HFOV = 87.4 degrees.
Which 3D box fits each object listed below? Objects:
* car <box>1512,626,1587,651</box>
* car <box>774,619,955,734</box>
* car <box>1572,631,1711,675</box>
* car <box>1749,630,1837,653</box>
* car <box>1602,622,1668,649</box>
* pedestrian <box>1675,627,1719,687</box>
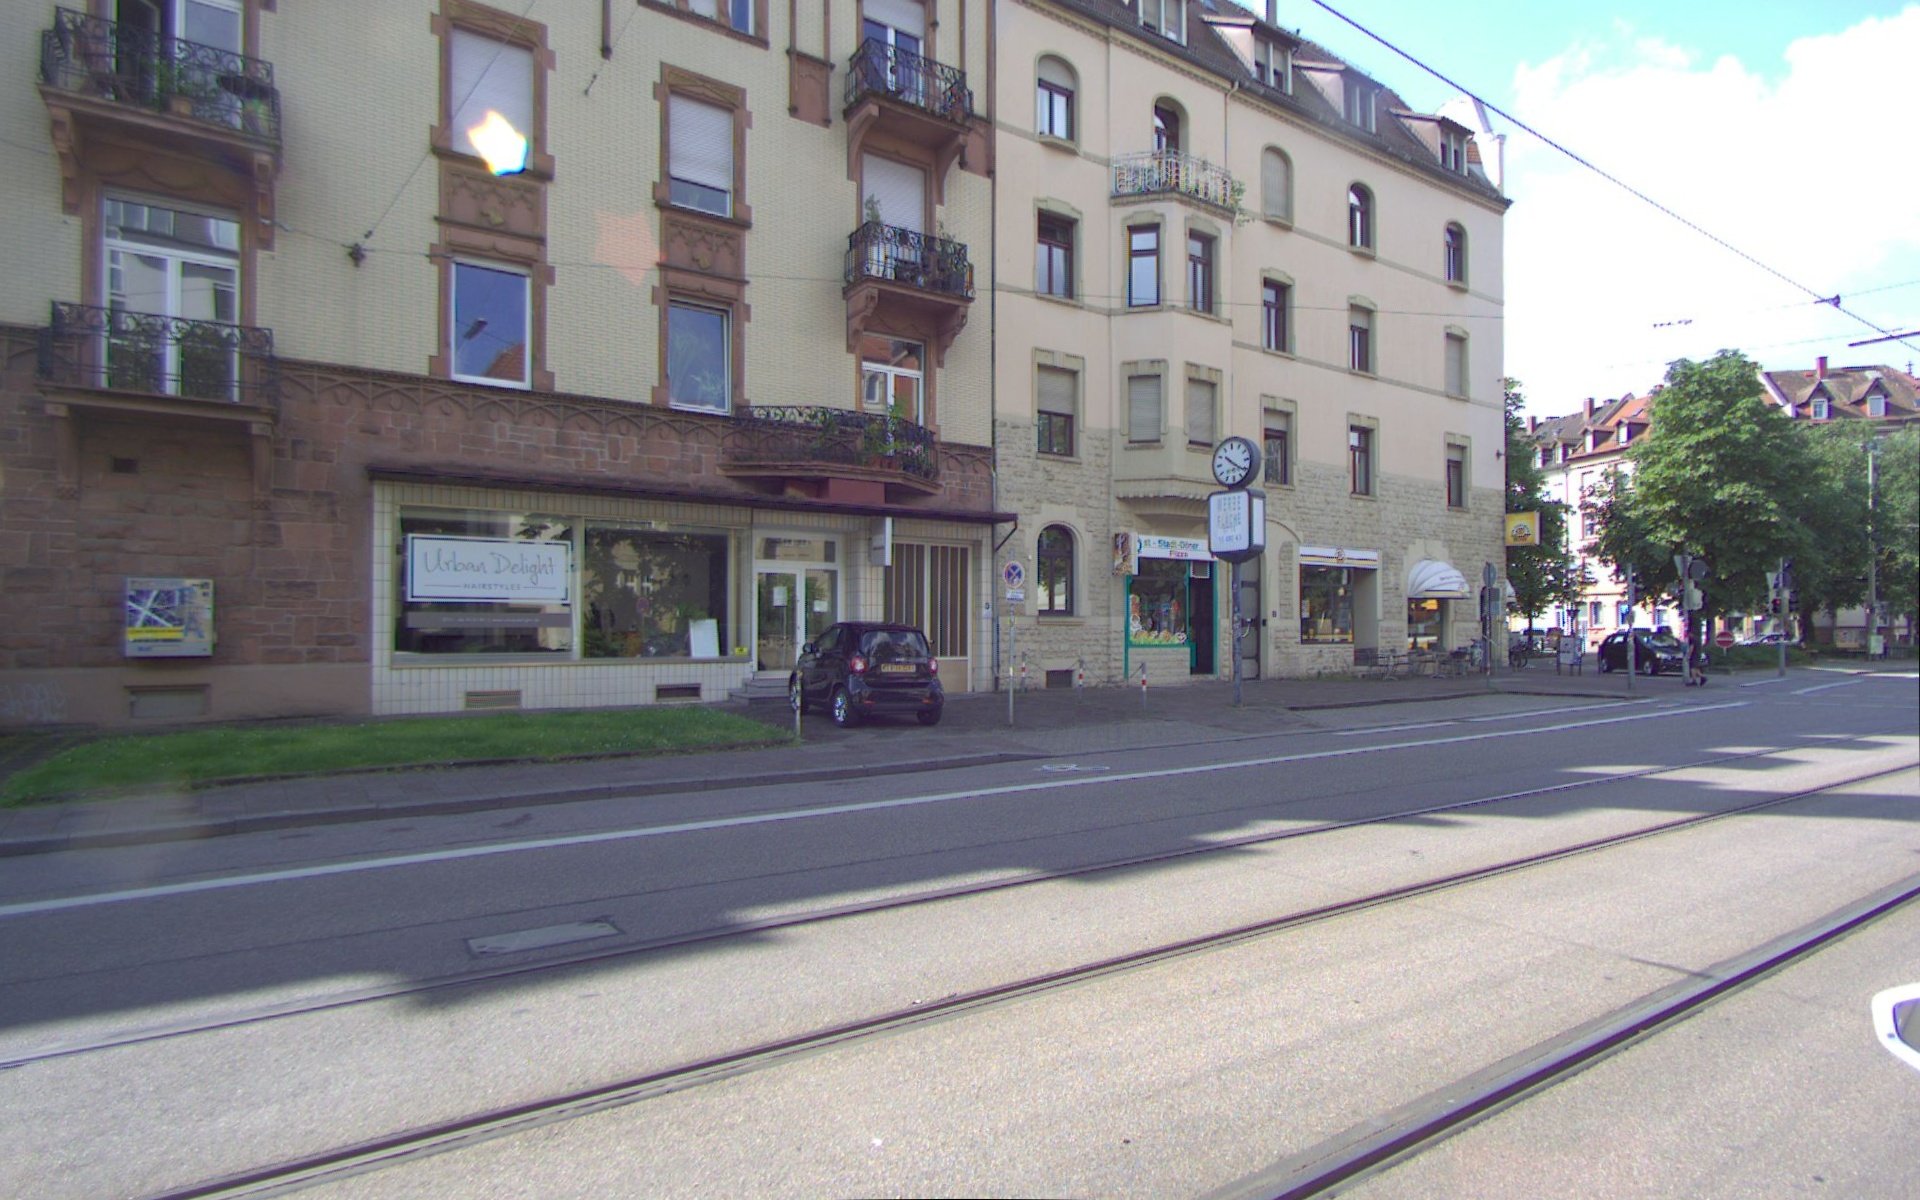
[{"bbox_3d":[40.283,2.611,68.727,1.976,1.617,3.970,1,-2,-29],"label":"car"},{"bbox_3d":[-1.609,1.128,16.085,1.716,1.505,3.163,1,1,-30],"label":"car"},{"bbox_3d":[24.936,1.895,36.929,1.733,1.538,4.054,1,-2,-17],"label":"car"},{"bbox_3d":[52.638,2.630,63.530,3.919,1.378,1.680,0,-1,11],"label":"car"},{"bbox_3d":[50.364,2.658,75.042,1.962,1.929,3.997,0,-2,-5],"label":"car"},{"bbox_3d":[21.390,1.639,29.160,0.690,1.706,0.750,1,-1,-21],"label":"pedestrian"}]
